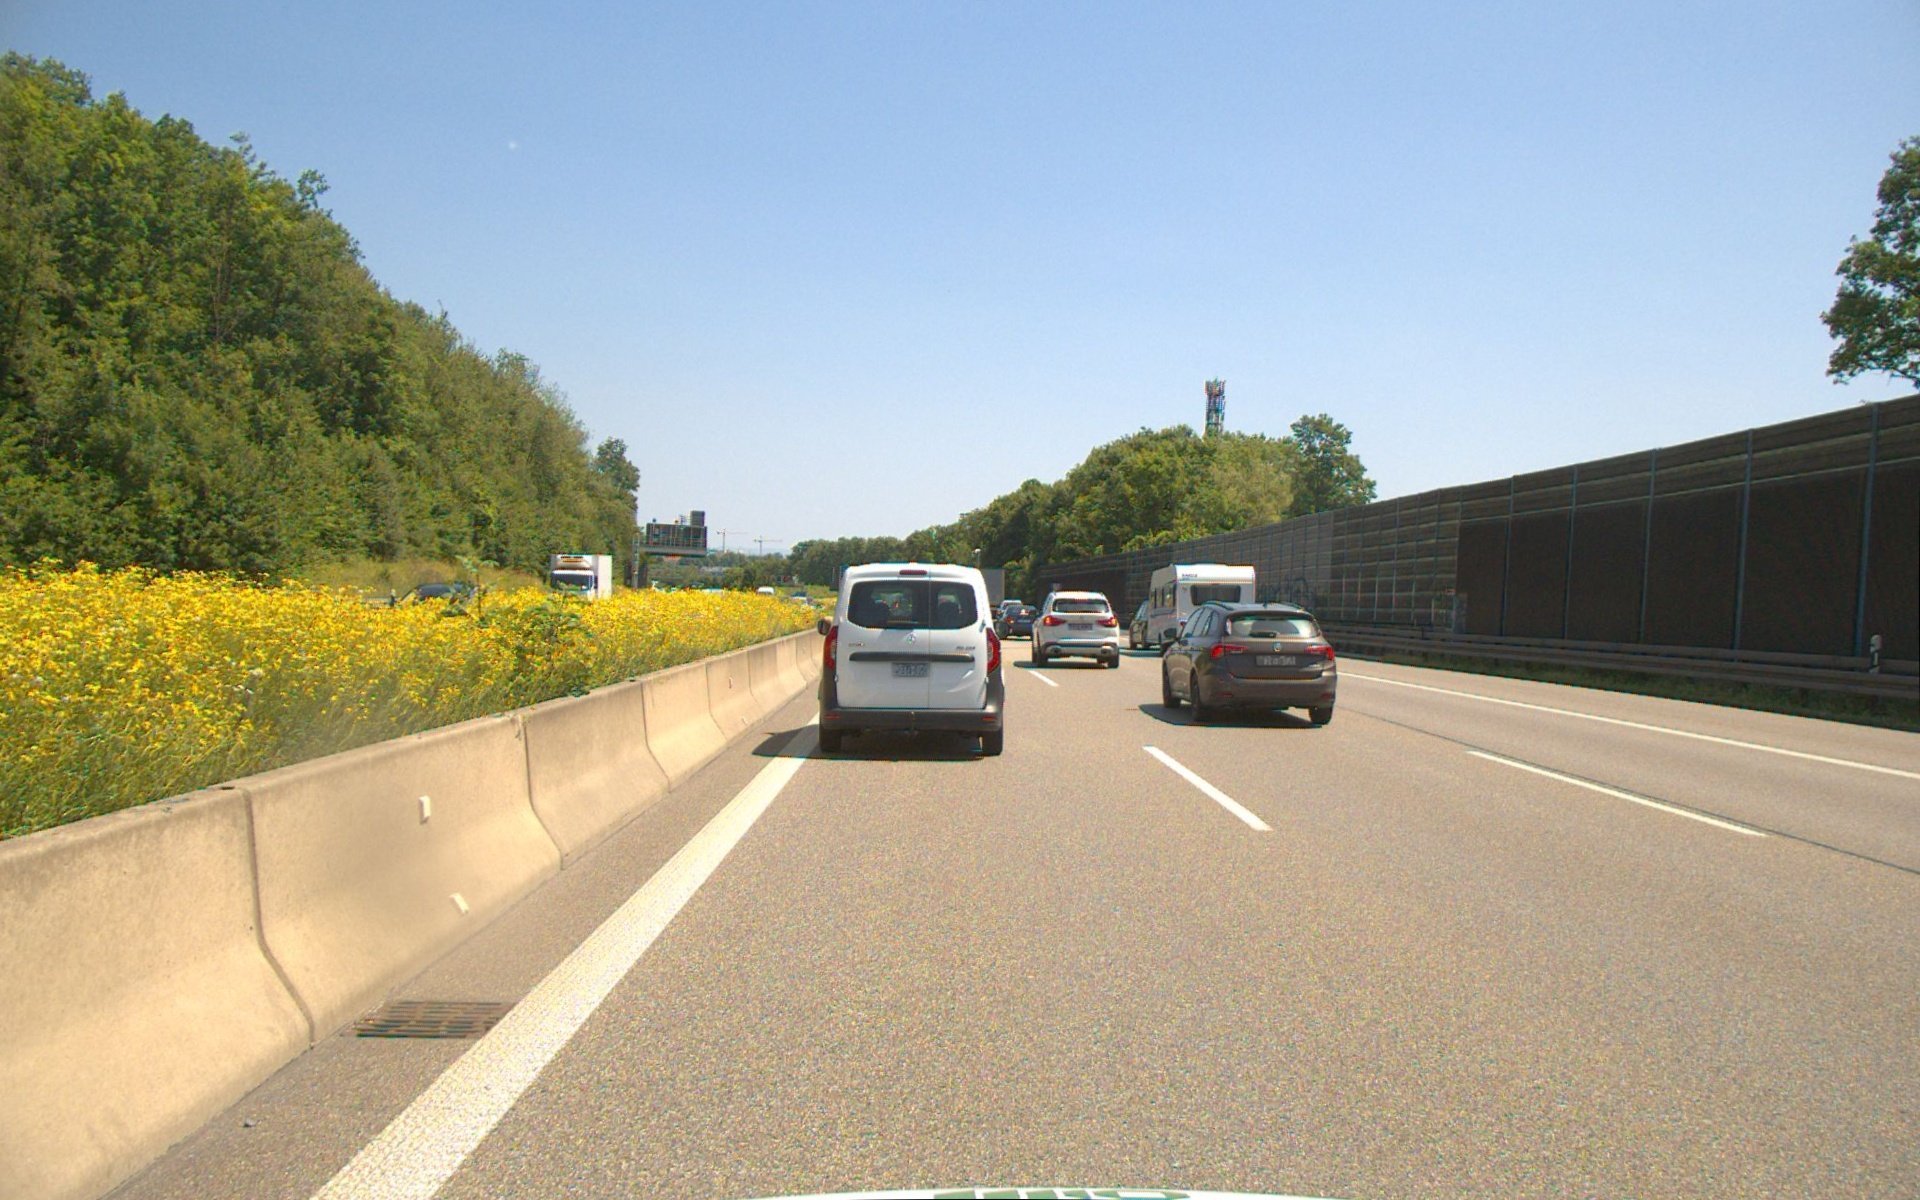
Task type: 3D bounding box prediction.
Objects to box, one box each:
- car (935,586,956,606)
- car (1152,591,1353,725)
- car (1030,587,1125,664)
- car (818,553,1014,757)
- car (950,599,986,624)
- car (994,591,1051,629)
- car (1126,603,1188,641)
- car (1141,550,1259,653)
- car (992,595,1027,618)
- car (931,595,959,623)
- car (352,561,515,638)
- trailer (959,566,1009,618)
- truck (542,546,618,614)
[{"bbox_3d":[-1.529,-0.425,172.657,1.955,2.049,3.996,1,0,-5],"label":"car"},{"bbox_3d":[3.742,0.680,21.943,1.801,1.539,4.401,1,0,-1],"label":"car"},{"bbox_3d":[2.671,0.545,38.347,1.833,1.636,3.878,1,0,-1],"label":"car"},{"bbox_3d":[-0.428,0.499,17.075,1.765,1.839,3.999,1,0,-1],"label":"car"},{"bbox_3d":[0.448,0.692,98.550,1.788,1.449,3.996,1,0,-4],"label":"car"},{"bbox_3d":[2.469,0.393,66.565,1.788,1.449,3.996,1,0,-5],"label":"car"},{"bbox_3d":[7.928,0.866,66.896,1.788,1.449,3.997,1,0,-3],"label":"car"},{"bbox_3d":[7.028,0.053,49.233,2.429,2.814,6.217,1,0,-2],"label":"car"},{"bbox_3d":[3.267,0.431,109.910,1.788,1.449,3.996,2,0,-5],"label":"car"},{"bbox_3d":[-1.183,0.687,125.808,1.788,2.023,3.996,3,0,-5],"label":"car"},{"bbox_3d":[-11.612,-0.028,36.831,2.094,1.557,4.798,1,0,-1],"label":"car"},{"bbox_3d":[1.871,-0.653,135.765,3.022,4.055,10.312,1,0,-5],"label":"trailer"},{"bbox_3d":[-21.079,-1.076,92.053,2.680,3.535,7.312,1,0,-2],"label":"truck"}]
